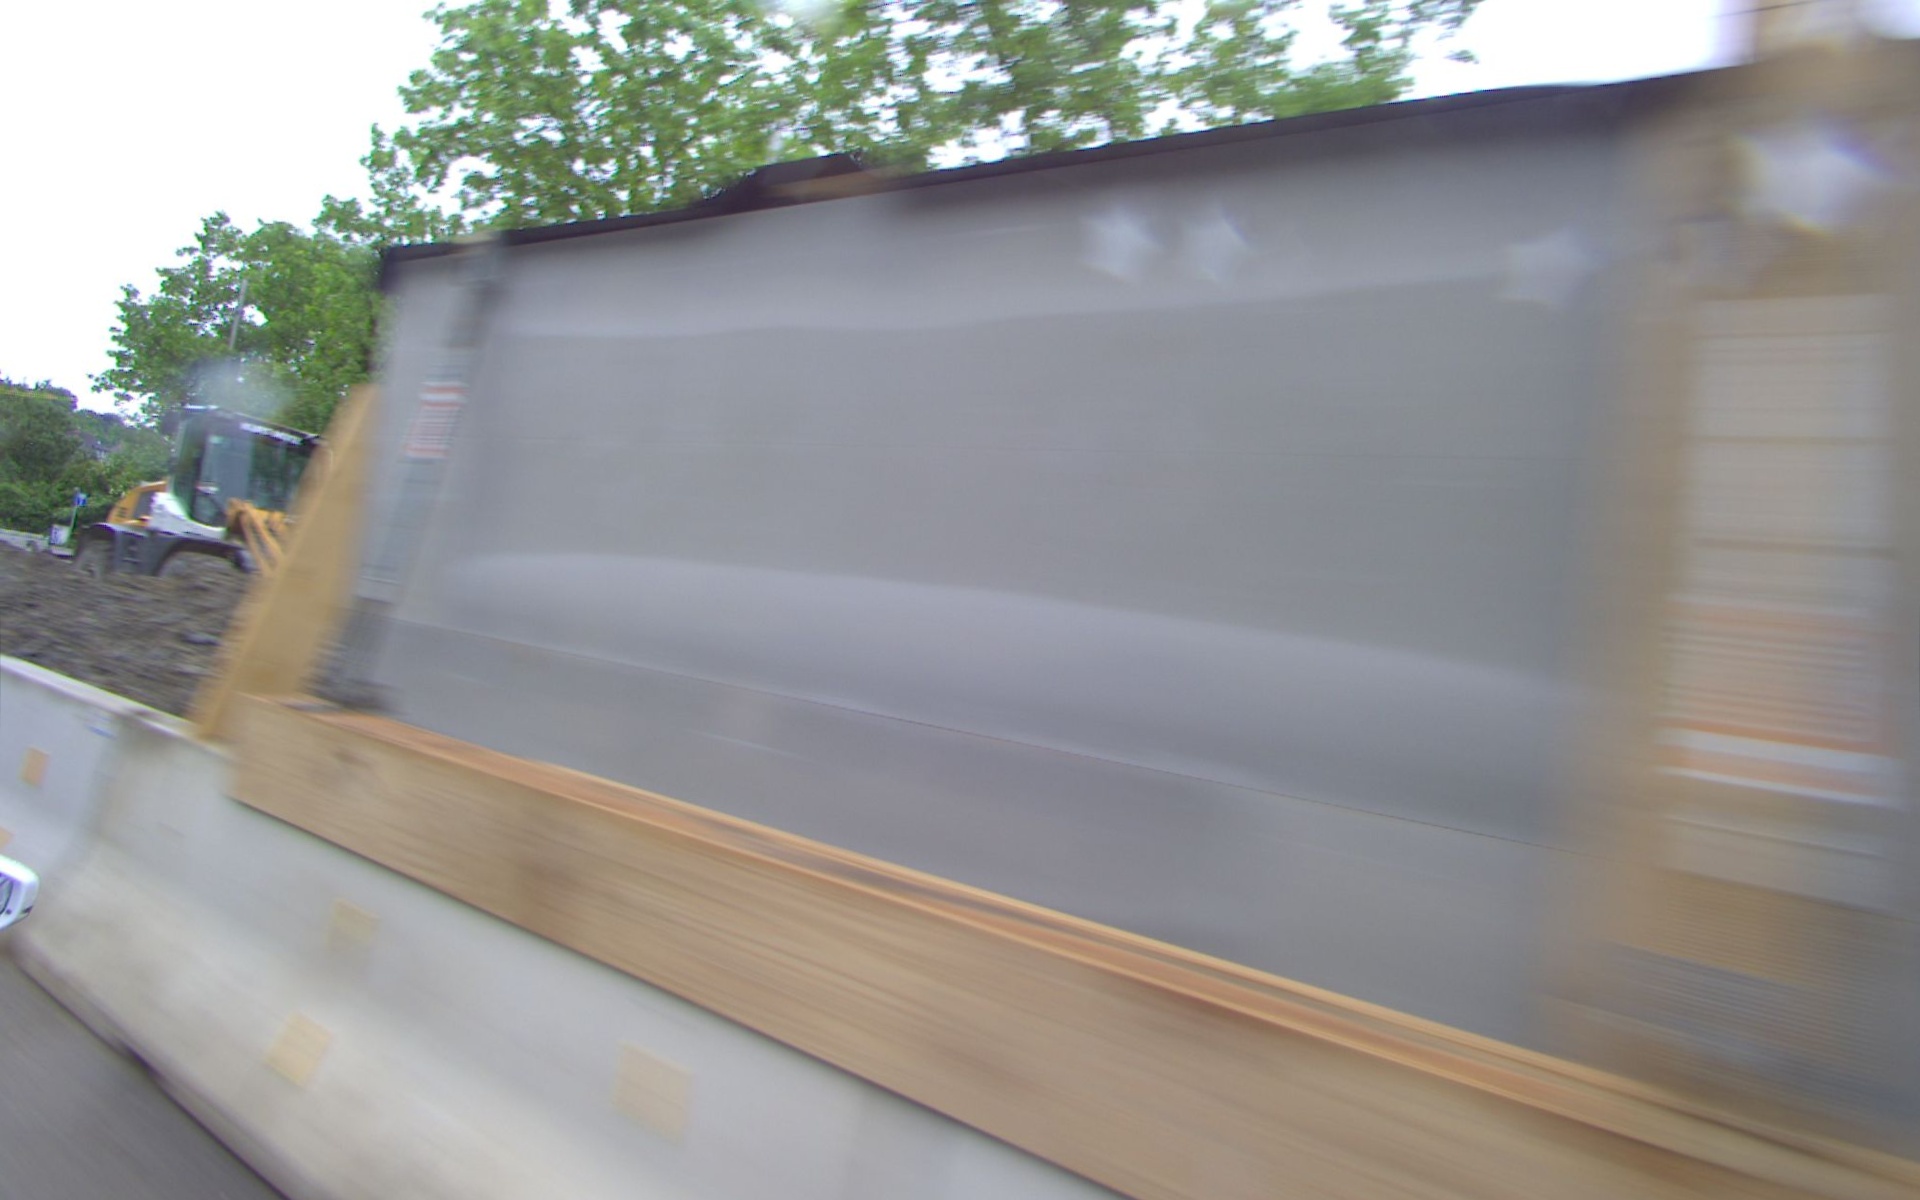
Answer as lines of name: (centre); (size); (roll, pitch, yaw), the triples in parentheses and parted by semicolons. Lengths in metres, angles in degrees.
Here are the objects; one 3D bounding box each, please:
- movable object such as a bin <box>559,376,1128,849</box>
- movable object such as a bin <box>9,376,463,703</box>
movable object such as a bin: (-0.802, 0.088, 7.251); (3.124, 2.627, 2.102); (6, -5, 32)
movable object such as a bin: (-9.156, -0.718, 12.589); (5.500, 3.106, 2.501); (5, -5, 34)
